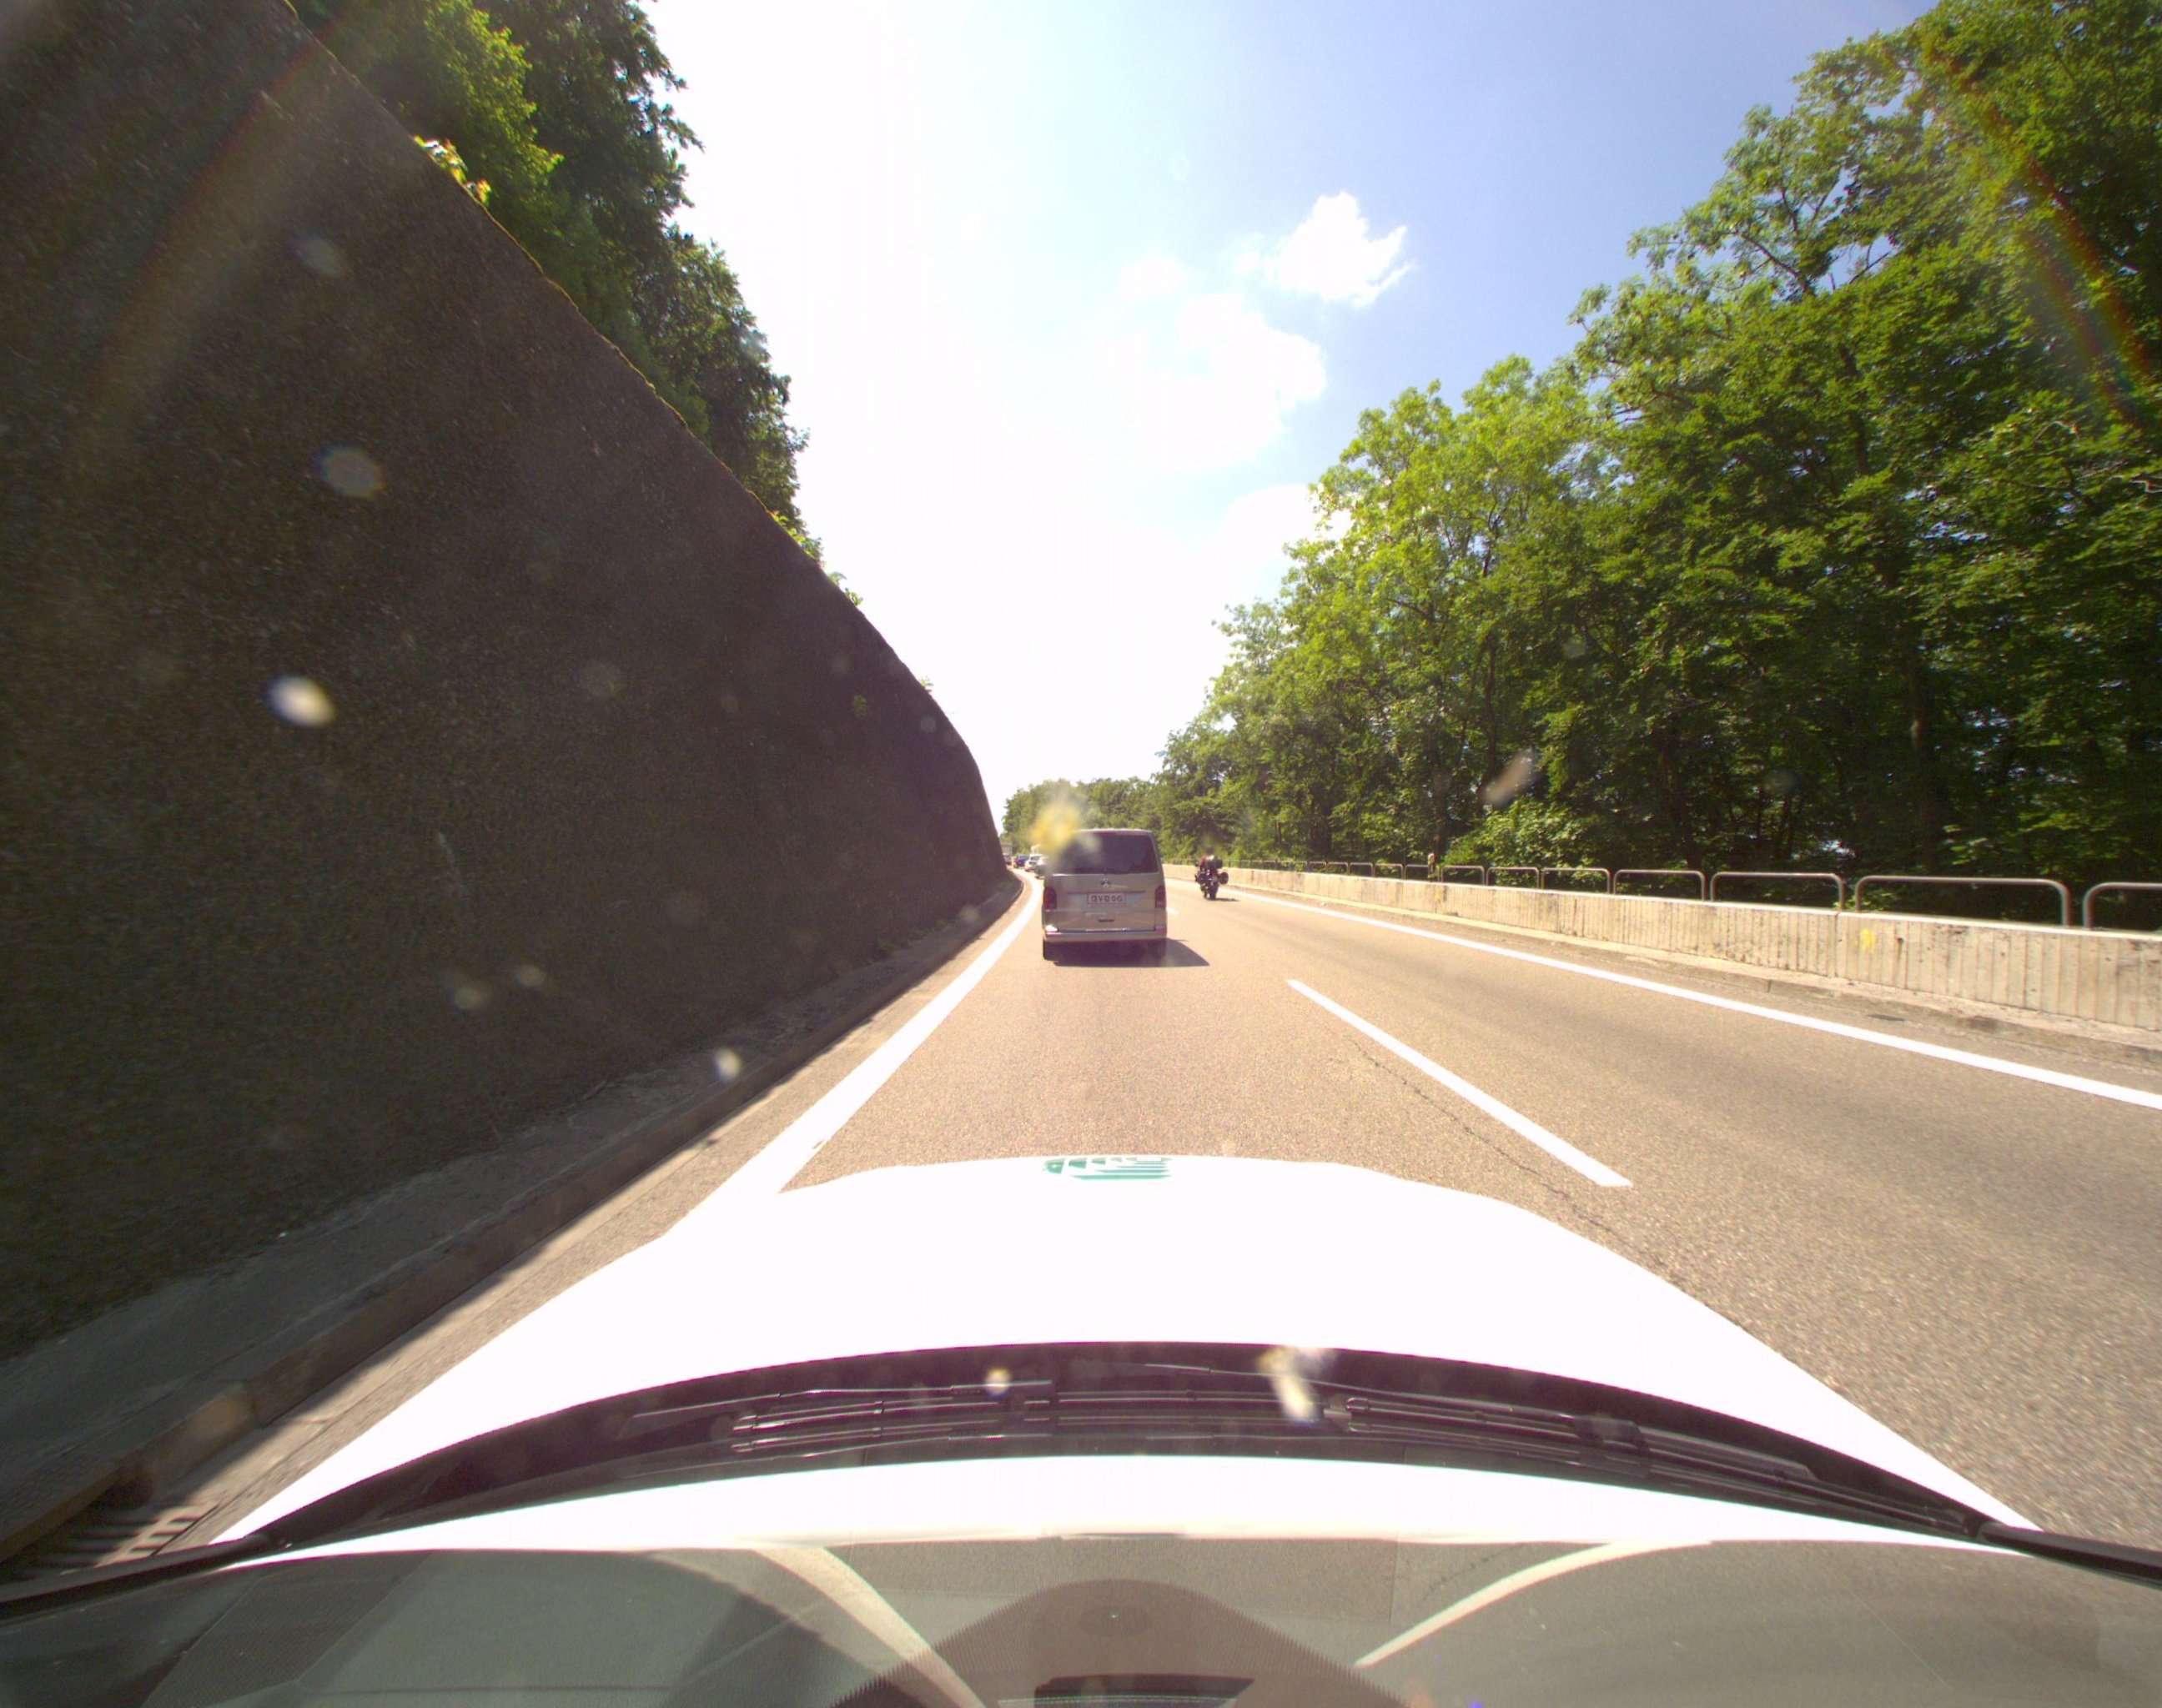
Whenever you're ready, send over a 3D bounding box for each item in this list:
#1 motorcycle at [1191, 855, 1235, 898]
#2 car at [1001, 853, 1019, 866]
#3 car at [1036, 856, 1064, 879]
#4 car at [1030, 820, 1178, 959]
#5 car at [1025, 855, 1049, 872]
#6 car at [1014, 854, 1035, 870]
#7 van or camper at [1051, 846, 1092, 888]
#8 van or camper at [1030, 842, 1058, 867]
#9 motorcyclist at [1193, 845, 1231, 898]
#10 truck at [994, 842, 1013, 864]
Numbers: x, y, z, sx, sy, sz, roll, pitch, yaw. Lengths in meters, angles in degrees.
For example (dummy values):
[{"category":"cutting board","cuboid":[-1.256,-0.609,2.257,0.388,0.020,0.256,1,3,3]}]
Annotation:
[{"category":"motorcycle","cuboid":[4.565,0.764,28.433,0.970,1.419,2.678,0,0,-3]},{"category":"car","cuboid":[-8.870,0.694,101.266,1.993,1.618,3.988,0,0,-8]},{"category":"car","cuboid":[-2.004,0.861,53.236,1.767,1.472,3.997,0,0,-2]},{"category":"car","cuboid":[0.186,0.508,13.759,1.938,1.931,4.685,0,0,-6]},{"category":"car","cuboid":[-3.924,0.855,72.244,1.861,1.486,3.990,0,0,-7]},{"category":"car","cuboid":[-5.931,0.834,85.514,1.857,1.620,3.988,0,0,-9]},{"category":"van or camper","cuboid":[-0.513,0.631,40.289,1.849,1.942,4.160,0,0,-3]},{"category":"van or camper","cuboid":[-4.671,0.001,101.956,2.603,2.855,6.316,4,0,-9]},{"category":"motorcyclist","cuboid":[4.524,0.594,28.305,1.058,1.800,1.337,0,0,-3]},{"category":"truck","cuboid":[-13.564,-0.213,142.615,2.924,3.687,7.701,0,0,-9]}]
